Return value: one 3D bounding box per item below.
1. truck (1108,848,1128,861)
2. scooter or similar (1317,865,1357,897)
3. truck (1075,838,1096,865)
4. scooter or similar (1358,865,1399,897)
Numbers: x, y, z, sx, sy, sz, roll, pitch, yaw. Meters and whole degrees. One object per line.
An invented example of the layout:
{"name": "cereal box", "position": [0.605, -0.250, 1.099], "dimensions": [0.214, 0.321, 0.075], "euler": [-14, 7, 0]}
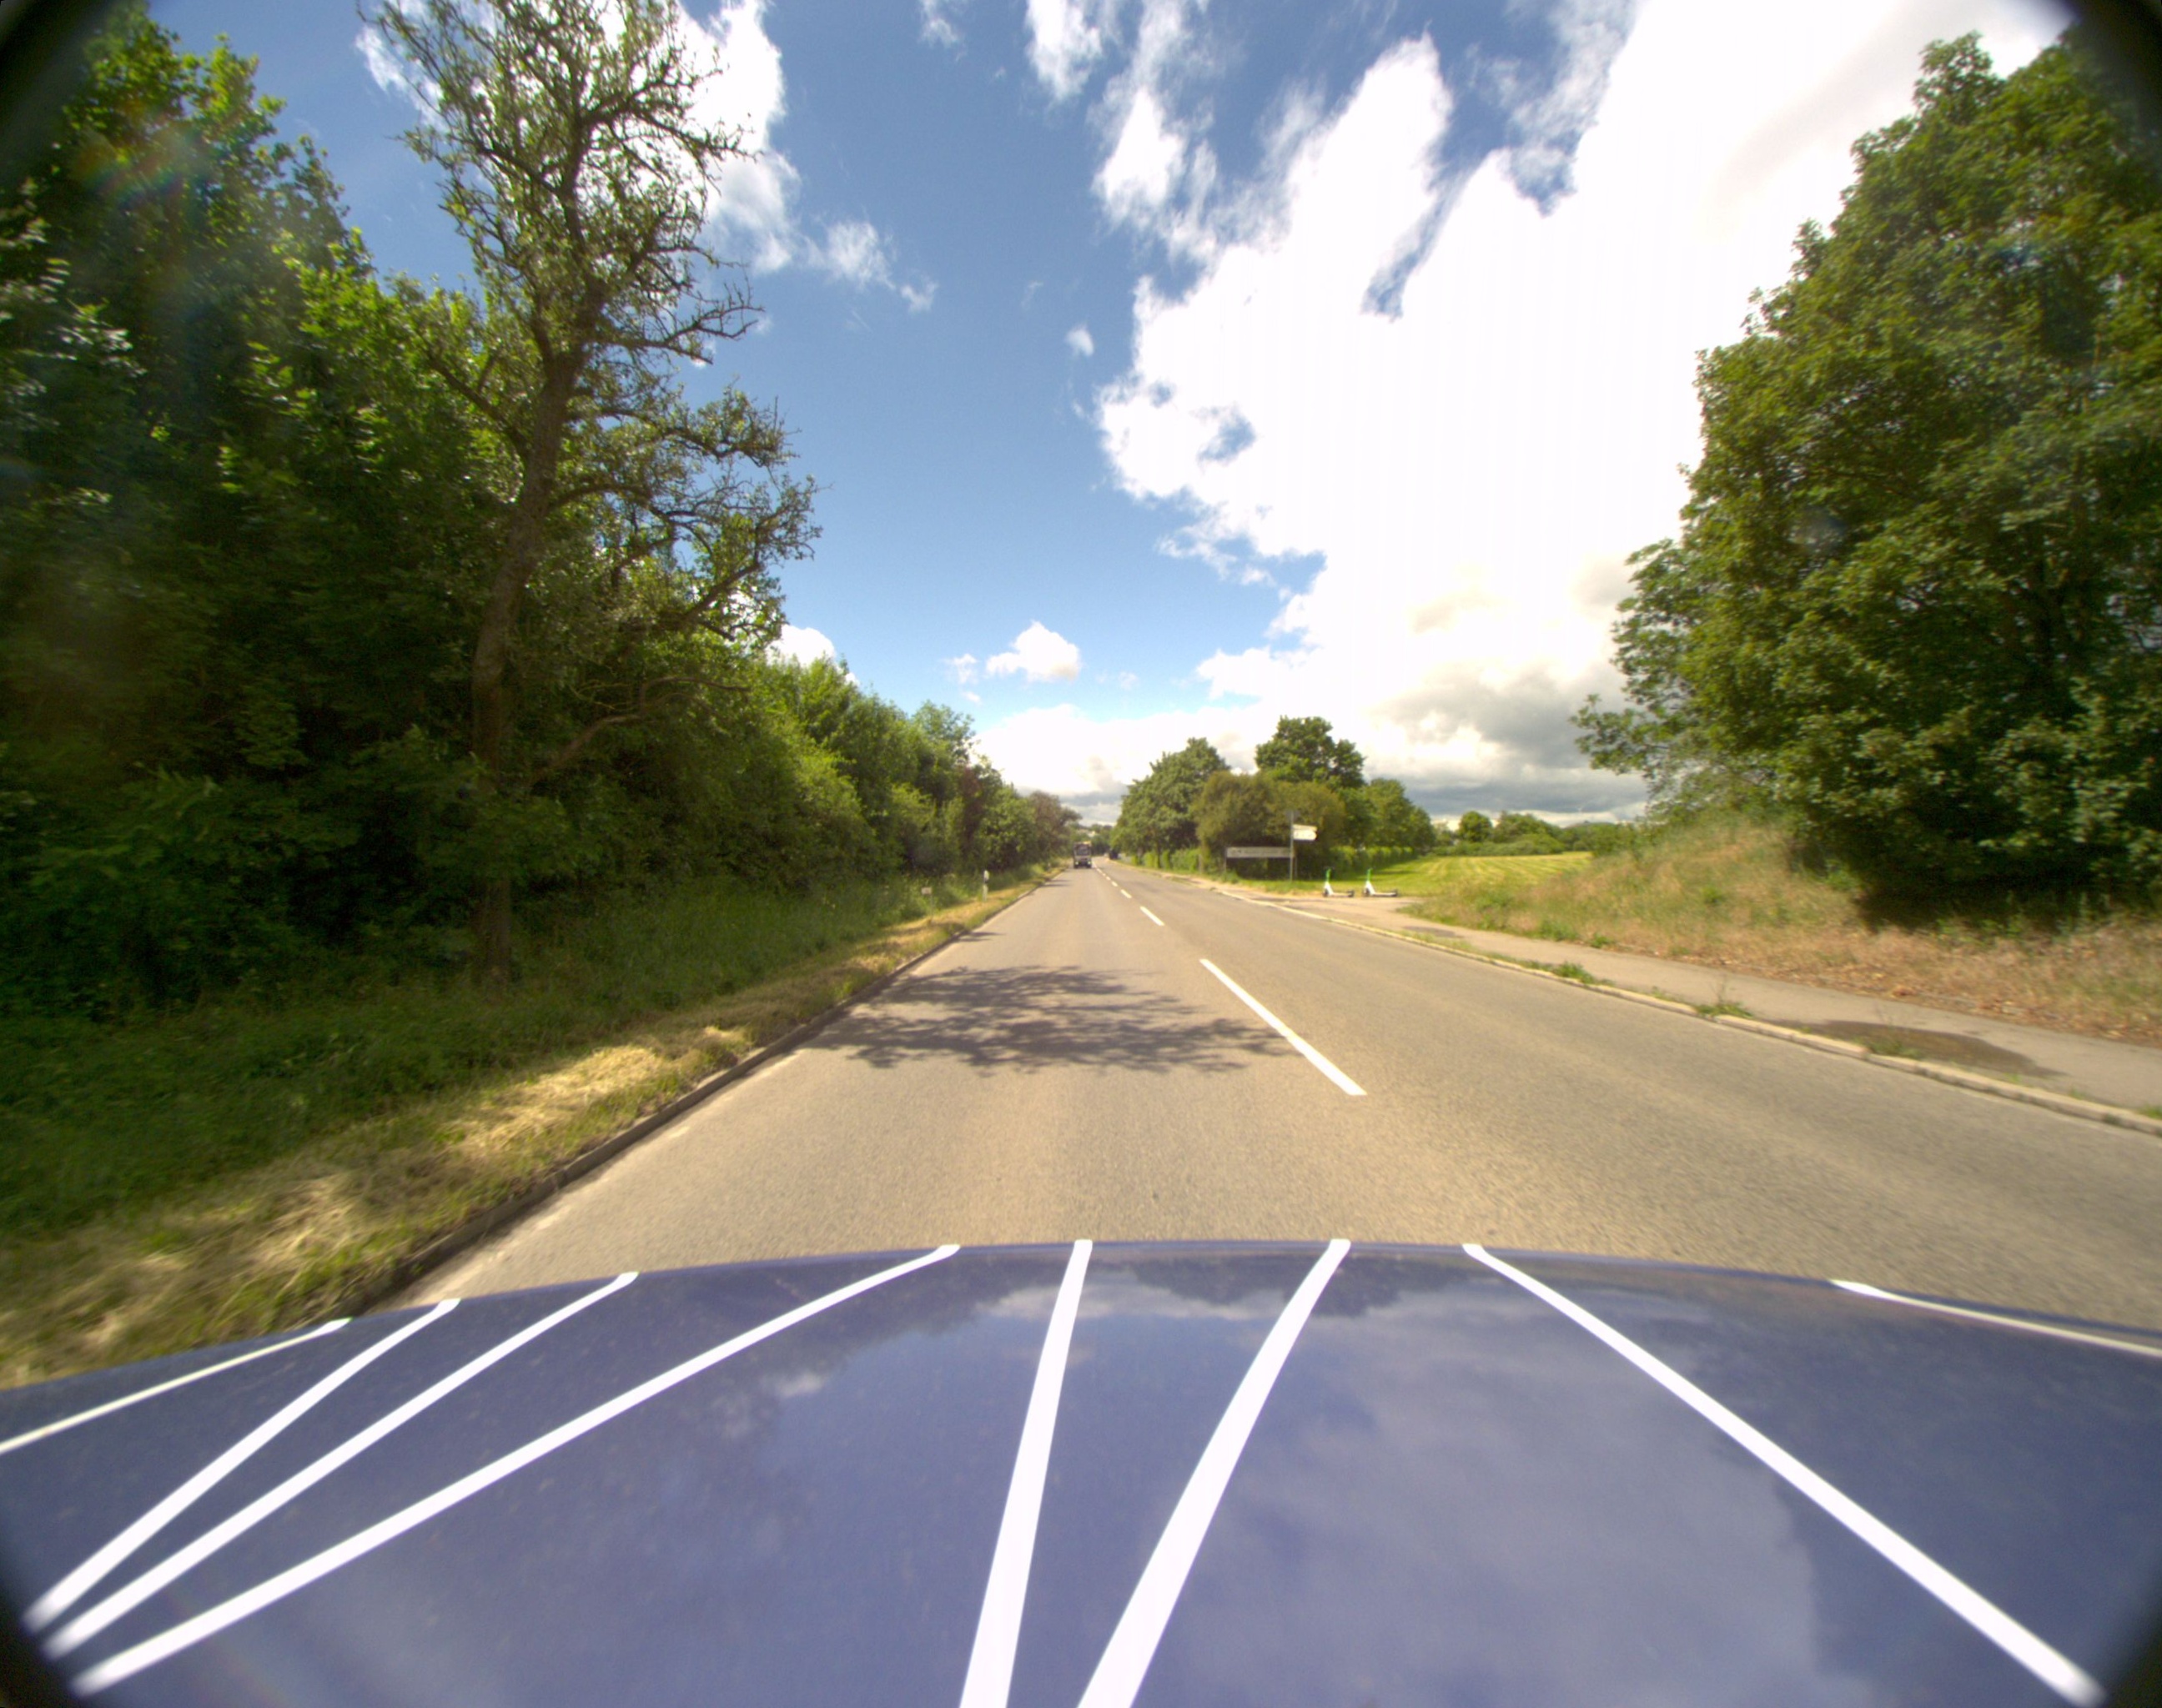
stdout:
{"name": "truck", "position": [10.843, 0.174, 223.293], "dimensions": [5.570, 3.801, 2.983], "euler": [0, 1, -4]}
{"name": "scooter or similar", "position": [9.644, 1.025, 28.645], "dimensions": [0.408, 1.162, 1.347], "euler": [-2, 0, -43]}
{"name": "truck", "position": [0.619, -0.334, 111.545], "dimensions": [2.905, 3.746, 9.634], "euler": [0, 0, 0]}
{"name": "scooter or similar", "position": [10.949, 0.981, 27.973], "dimensions": [1.347, 1.162, 0.408], "euler": [-1, 0, 41]}
